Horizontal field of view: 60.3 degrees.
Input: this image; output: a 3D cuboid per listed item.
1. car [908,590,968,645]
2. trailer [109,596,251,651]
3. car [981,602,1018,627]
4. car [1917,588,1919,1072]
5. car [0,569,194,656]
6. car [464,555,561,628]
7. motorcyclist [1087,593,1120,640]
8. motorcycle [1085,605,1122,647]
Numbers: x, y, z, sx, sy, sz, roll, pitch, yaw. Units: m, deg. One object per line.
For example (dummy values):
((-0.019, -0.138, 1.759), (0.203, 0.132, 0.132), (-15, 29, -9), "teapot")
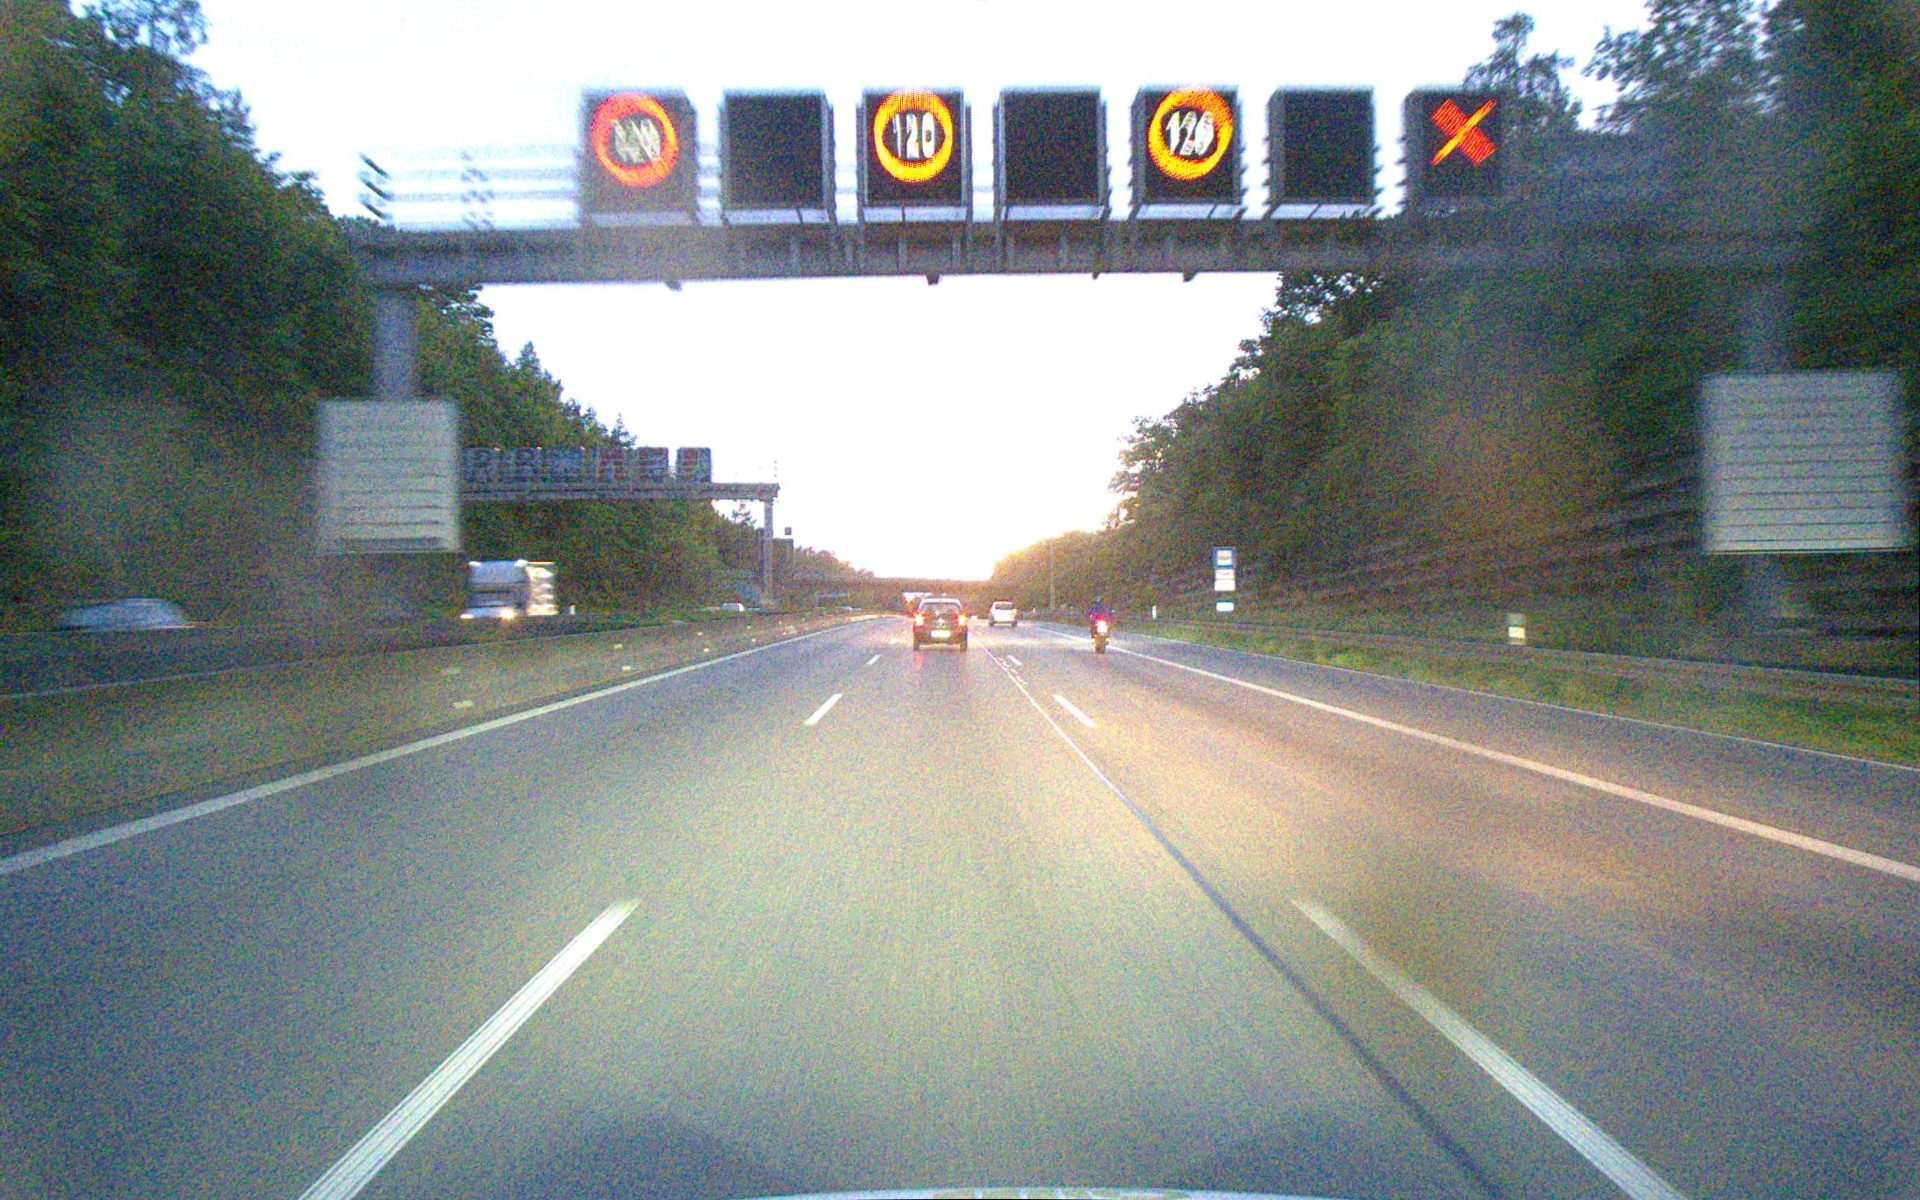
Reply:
((-0.644, 0.513, 49.048), (1.669, 1.536, 4.231), (2, -1, -1), "car")
((-18.833, 0.543, 40.077), (1.953, 1.271, 3.122), (0, 0, -1), "trailer")
((2.493, 0.923, 104.482), (1.829, 1.520, 4.394), (2, -1, -5), "car")
((3.984, 0.759, 2.993), (1.789, 1.501, 4.396), (0, 1, -3), "car")
((-18.797, 0.255, 36.205), (1.953, 1.766, 4.572), (0, 0, -1), "car")
((-19.119, -0.337, 71.037), (1.941, 2.931, 7.834), (0, 0, 1), "car")
((4.071, 0.460, 46.915), (0.813, 1.314, 1.190), (0, 0, -1), "motorcyclist")
((4.071, 0.711, 46.982), (0.813, 1.154, 2.475), (0, 0, -1), "motorcycle")
